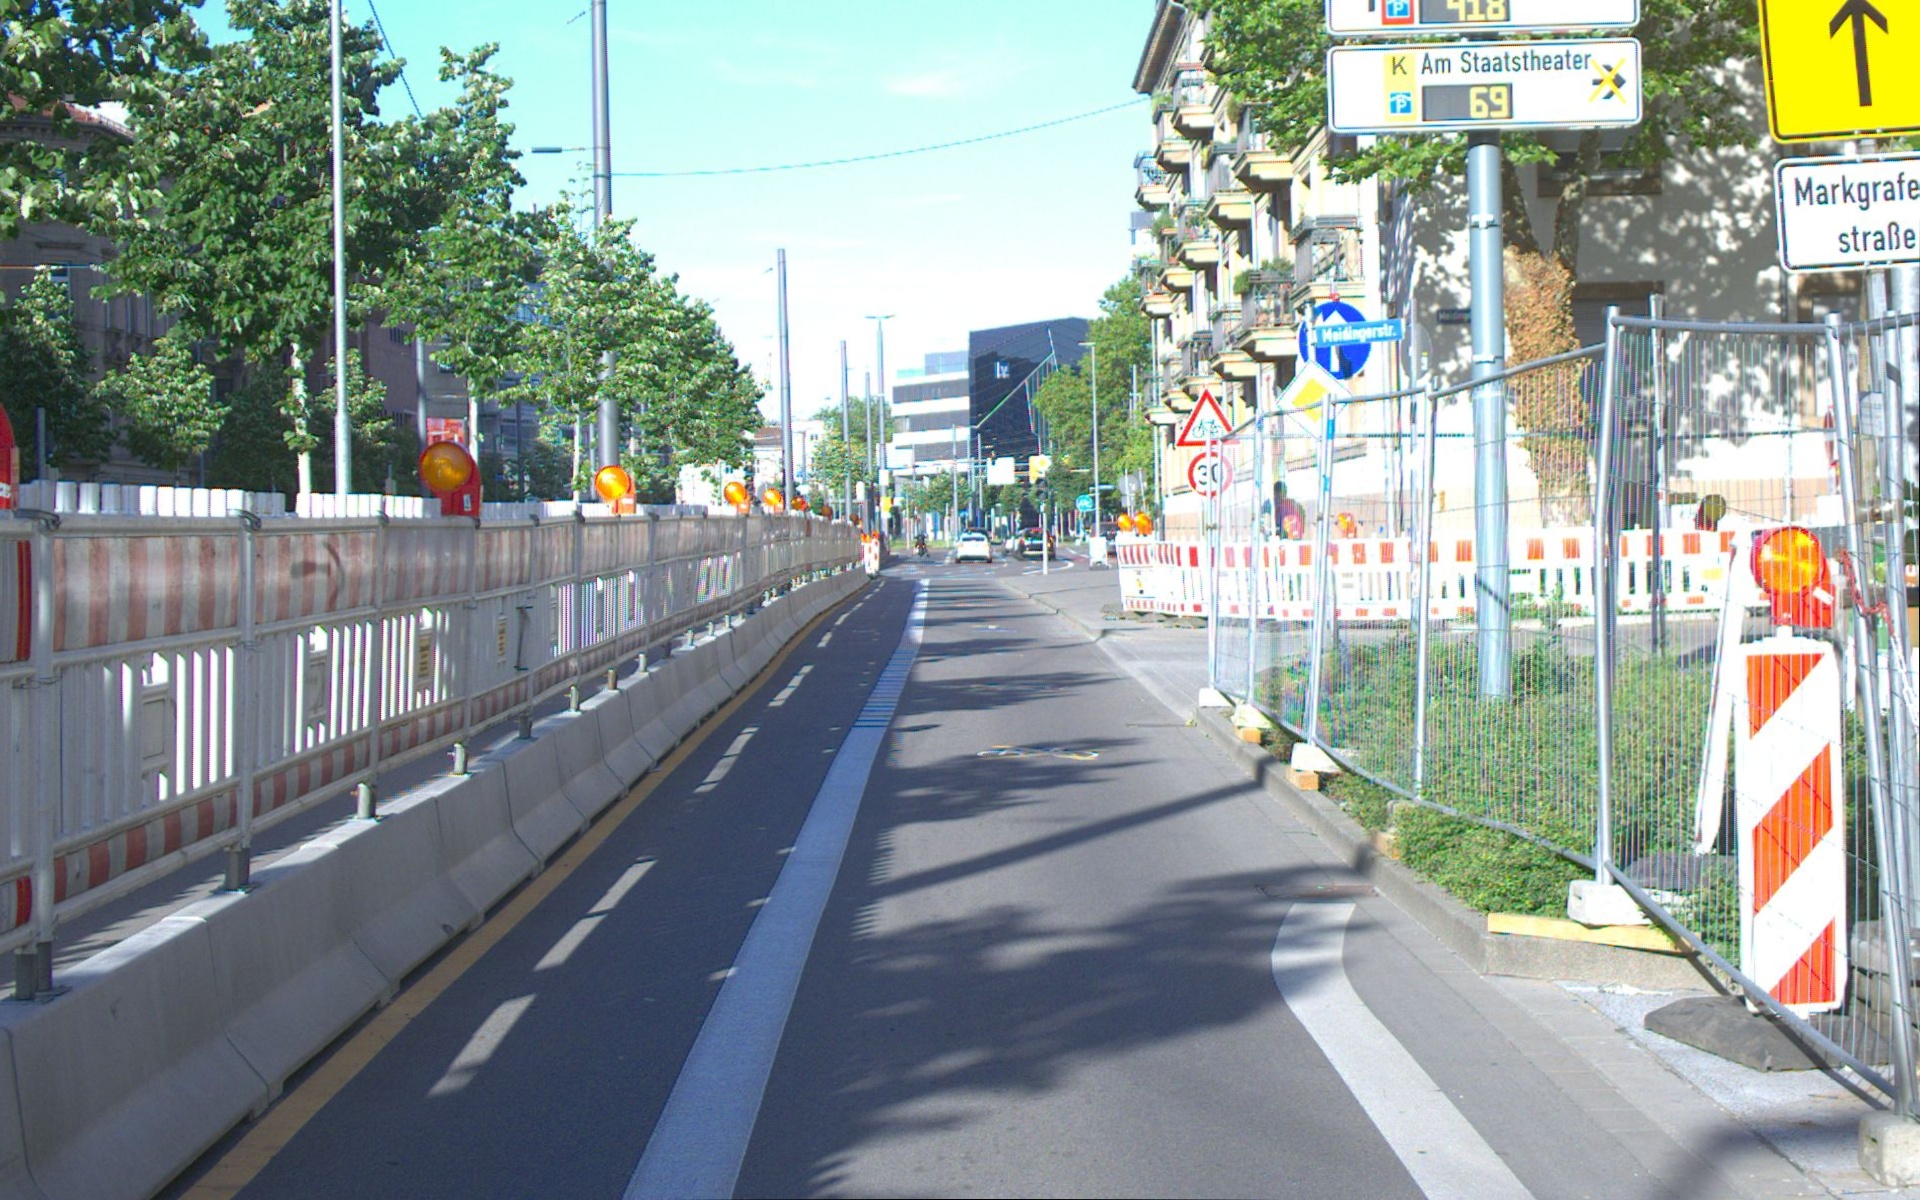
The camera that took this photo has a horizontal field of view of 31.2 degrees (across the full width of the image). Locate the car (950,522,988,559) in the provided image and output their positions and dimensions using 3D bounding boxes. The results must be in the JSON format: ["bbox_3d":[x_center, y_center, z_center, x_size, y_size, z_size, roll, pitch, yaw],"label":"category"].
[{"bbox_3d":[0.435,-3.008,173.256,1.883,1.836,3.668,-1,1,0],"label":"car"}]

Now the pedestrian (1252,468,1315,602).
[{"bbox_3d":[4.282,-0.859,45.534,0.668,1.740,0.778,-1,1,-5],"label":"pedestrian"}]

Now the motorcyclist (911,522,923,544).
[{"bbox_3d":[-2.545,-3.962,202.991,0.631,1.258,0.606,-1,1,0],"label":"motorcyclist"}]

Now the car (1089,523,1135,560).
[{"bbox_3d":[6.807,-2.647,154.043,1.883,1.584,3.668,-1,1,1],"label":"car"}]

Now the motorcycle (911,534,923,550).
[{"bbox_3d":[-2.531,-3.421,202.927,0.631,0.893,1.621,-1,1,0],"label":"motorcycle"}]

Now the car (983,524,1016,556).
[{"bbox_3d":[2.382,-3.649,208.201,1.883,1.836,3.668,-1,1,0],"label":"car"}]

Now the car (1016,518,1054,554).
[{"bbox_3d":[3.961,-3.385,182.516,1.883,1.836,3.668,-1,1,0],"label":"car"}]
